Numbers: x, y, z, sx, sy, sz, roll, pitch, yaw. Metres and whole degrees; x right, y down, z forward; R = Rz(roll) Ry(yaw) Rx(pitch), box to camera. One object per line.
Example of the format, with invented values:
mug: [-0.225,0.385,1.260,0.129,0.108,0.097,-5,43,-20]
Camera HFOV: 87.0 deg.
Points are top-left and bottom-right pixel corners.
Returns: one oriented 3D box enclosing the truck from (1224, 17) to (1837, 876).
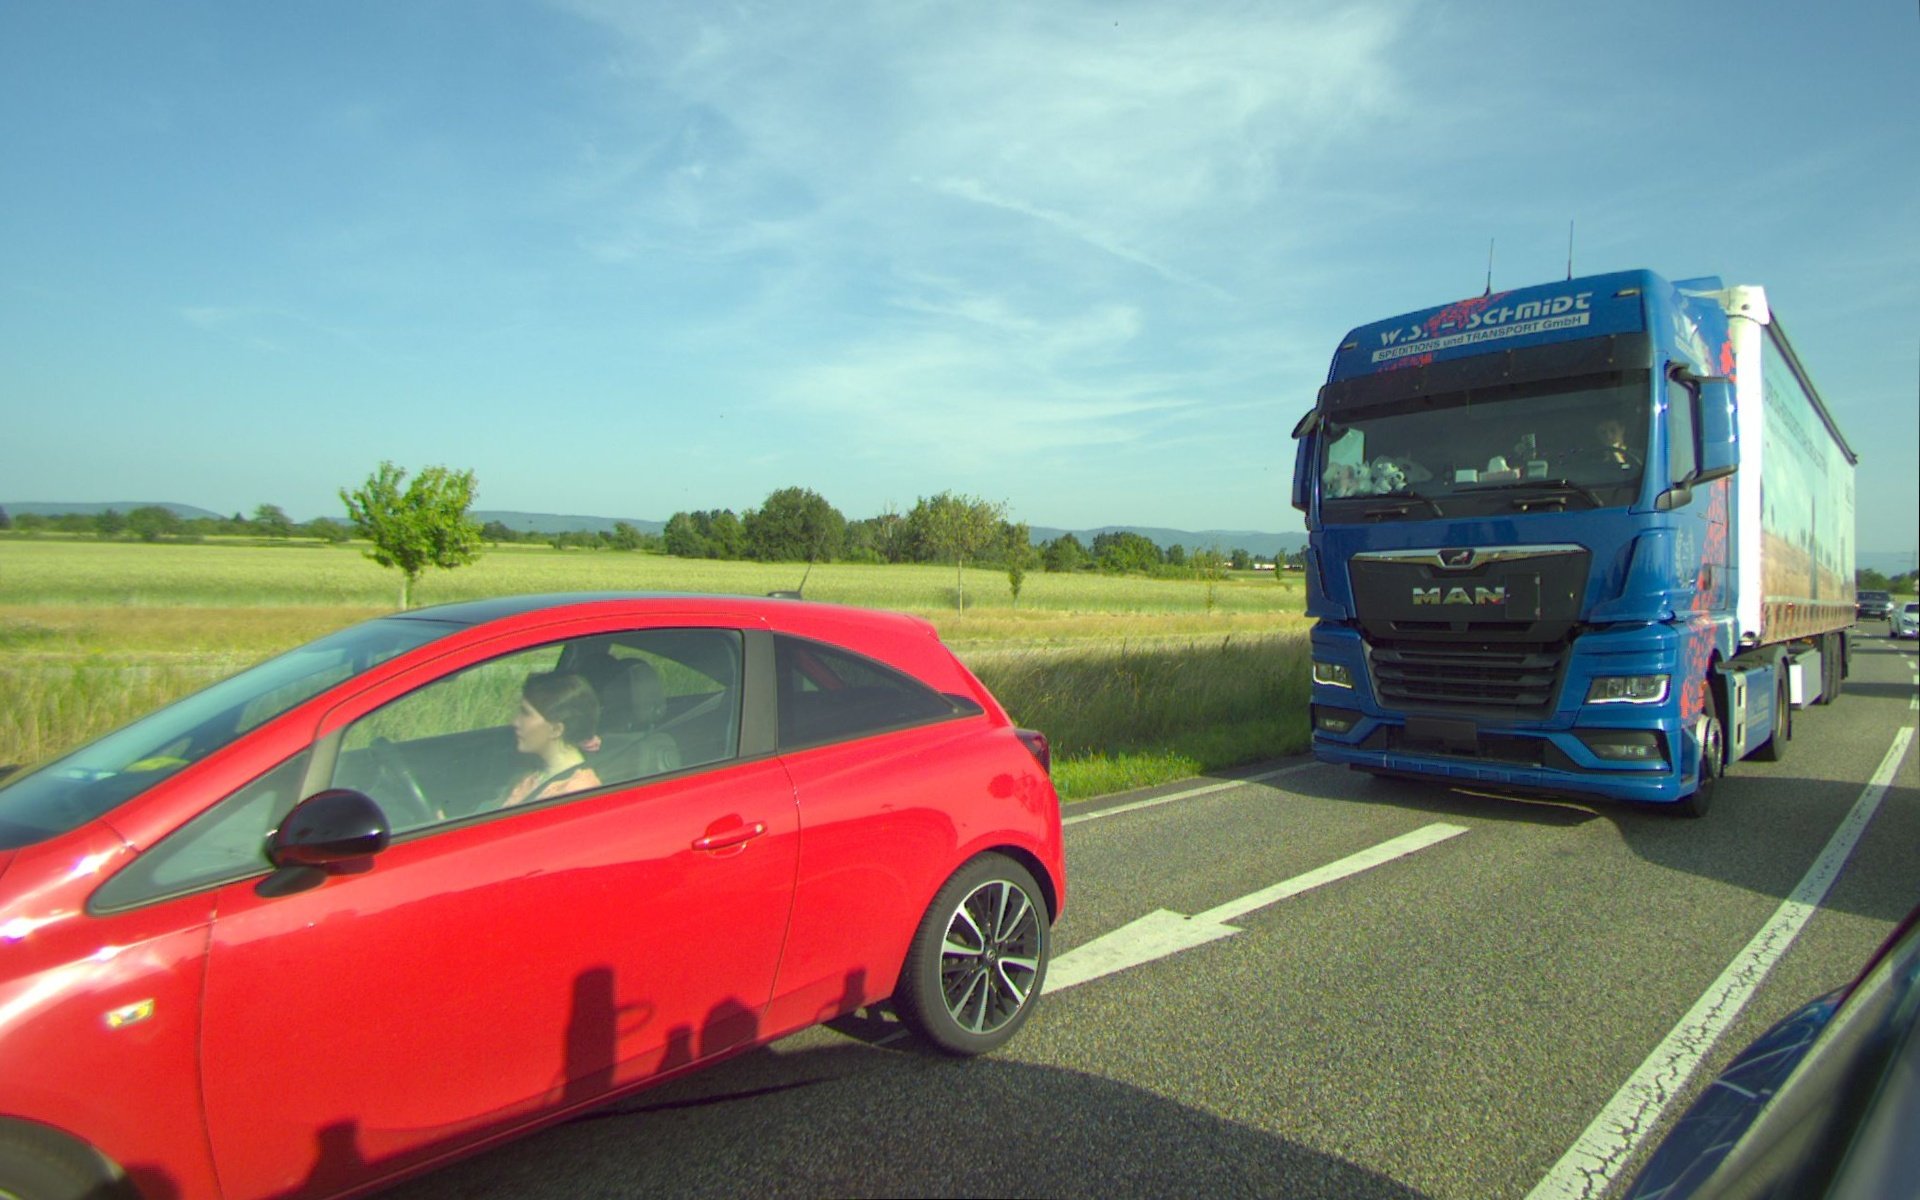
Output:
truck: [5.188,-0.887,8.749,3.301,4.716,5.640,0,1,44]

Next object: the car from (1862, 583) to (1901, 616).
car: [56.020,-0.040,61.595,1.551,1.944,3.977,2,1,40]

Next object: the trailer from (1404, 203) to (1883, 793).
trailer: [10.252,-0.946,13.956,3.282,4.739,12.939,0,1,44]

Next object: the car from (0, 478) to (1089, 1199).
car: [-1.461,0.562,2.863,3.689,1.568,1.698,0,2,-44]

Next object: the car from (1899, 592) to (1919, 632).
car: [36.050,0.429,37.526,1.551,1.417,3.977,2,2,40]
